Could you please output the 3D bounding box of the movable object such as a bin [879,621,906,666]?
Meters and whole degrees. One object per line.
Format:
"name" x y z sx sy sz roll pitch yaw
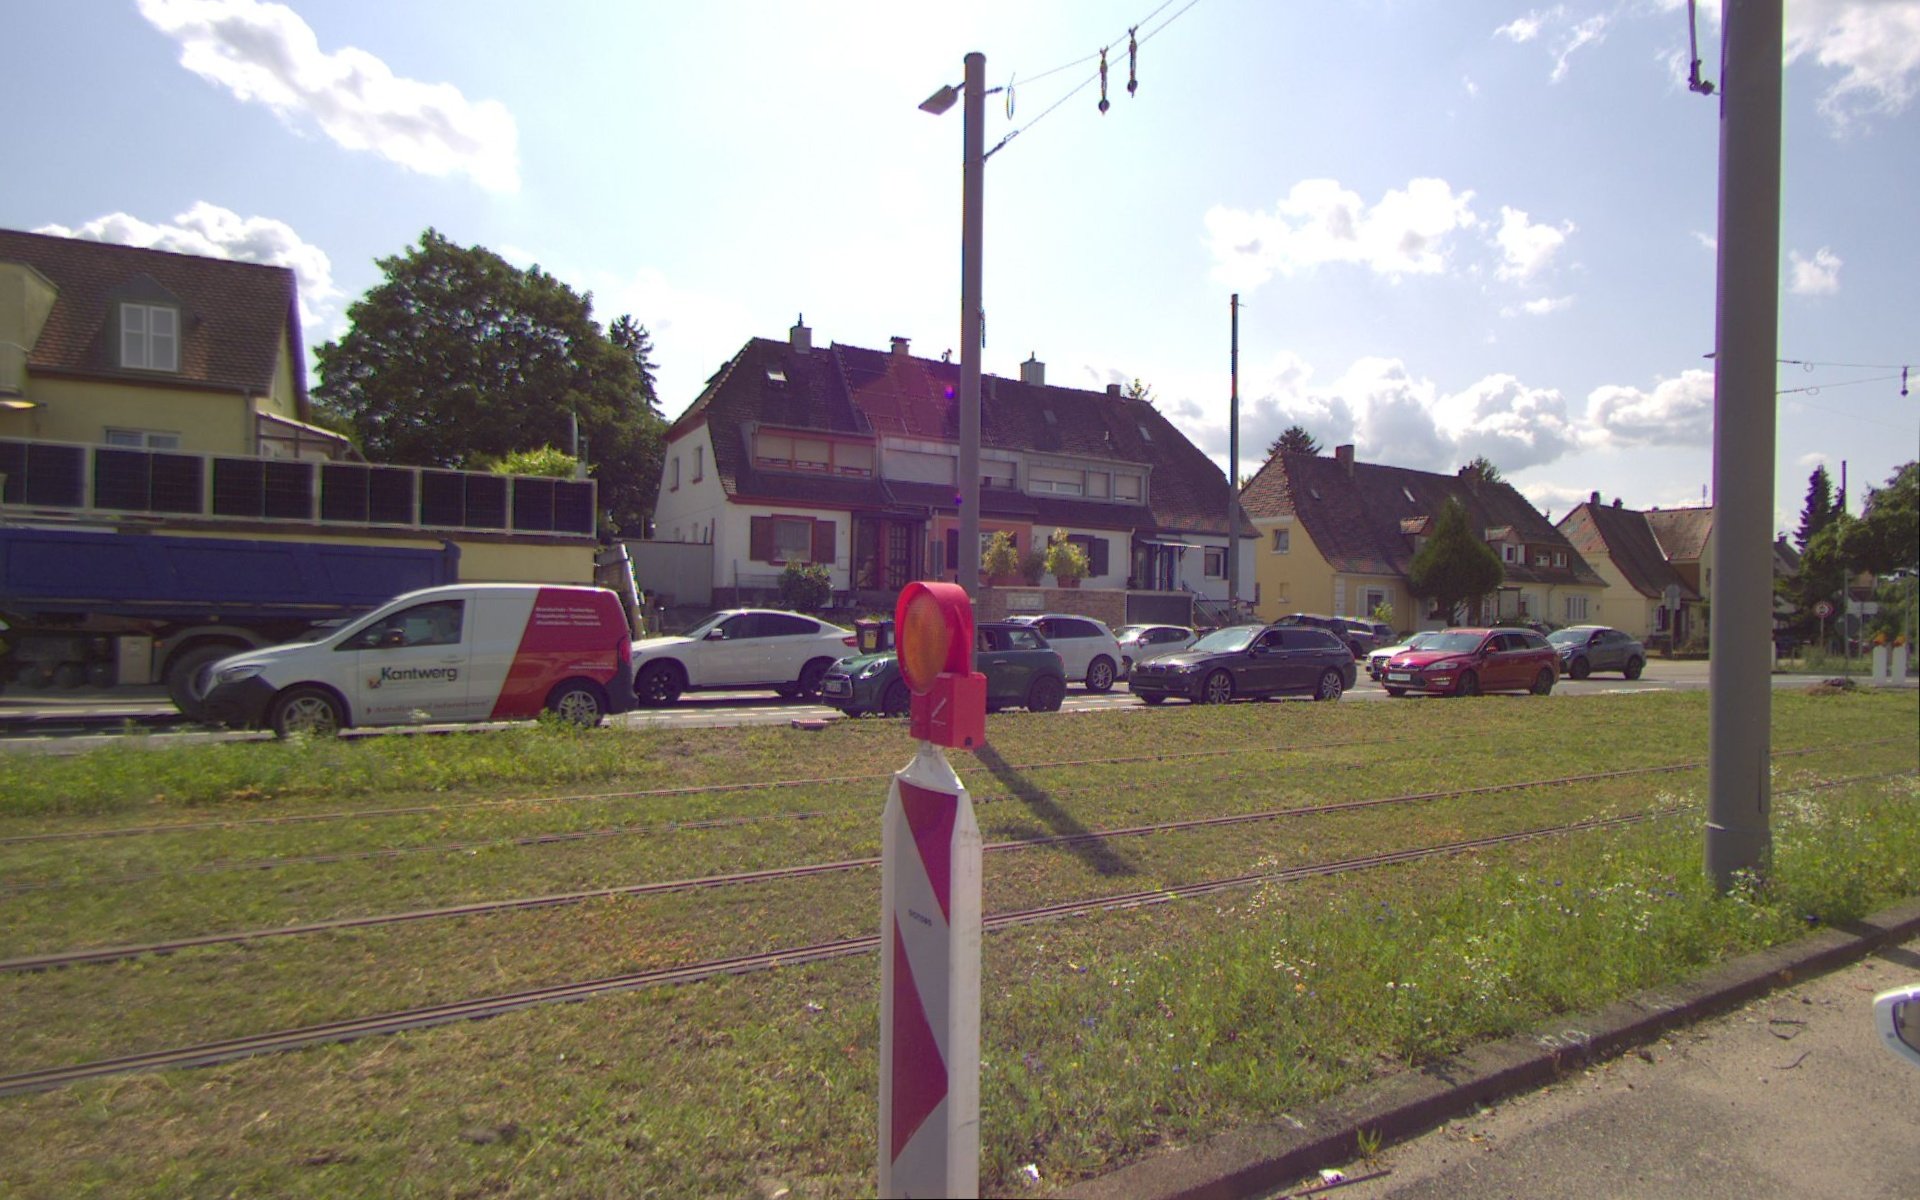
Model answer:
"movable object such as a bin" -1.841 1.174 27.358 0.569 1.212 0.442 1 -1 -36

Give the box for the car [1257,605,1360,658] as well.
"car" 13.125 1.161 37.976 1.587 1.616 3.365 2 4 -32

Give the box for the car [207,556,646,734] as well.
"car" -6.208 0.509 12.067 4.357 1.805 1.723 2 -1 -33

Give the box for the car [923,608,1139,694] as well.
"car" 1.591 1.076 21.825 4.456 1.691 1.833 2 -1 -32

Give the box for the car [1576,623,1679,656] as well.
"car" 33.512 1.952 50.507 1.685 1.417 3.967 1 1 -31

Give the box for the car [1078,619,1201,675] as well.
"car" 4.933 1.263 27.562 3.052 1.438 1.558 2 -1 -31

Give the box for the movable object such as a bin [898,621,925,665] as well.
"movable object such as a bin" -1.333 1.184 27.740 0.569 1.217 0.442 1 -1 -36

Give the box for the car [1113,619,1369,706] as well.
"car" 5.323 1.112 18.768 4.862 1.432 1.833 2 -1 -32

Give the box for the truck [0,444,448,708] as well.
"truck" -11.513 -0.263 14.069 7.500 3.230 2.753 2 -1 -32

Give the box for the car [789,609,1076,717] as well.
"car" -0.380 0.897 15.283 3.956 1.437 1.904 2 -1 -32

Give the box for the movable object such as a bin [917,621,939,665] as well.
"movable object such as a bin" -0.899 1.200 28.062 0.437 1.197 0.442 1 -1 -36

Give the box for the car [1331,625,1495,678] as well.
"car" 12.884 1.431 28.503 4.721 1.361 1.835 2 -1 -30

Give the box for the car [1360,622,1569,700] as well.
"car" 11.157 1.298 22.117 4.801 1.513 1.834 2 -1 -31

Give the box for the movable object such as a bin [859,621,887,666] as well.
"movable object such as a bin" -2.337 1.160 26.994 0.569 1.200 0.442 1 -1 -36

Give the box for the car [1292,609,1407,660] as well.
"car" 15.164 1.304 39.291 1.587 1.512 3.929 2 4 -32

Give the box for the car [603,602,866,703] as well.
"car" -4.131 0.929 18.571 4.385 1.681 1.834 2 -1 -30

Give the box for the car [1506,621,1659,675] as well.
"car" 19.441 1.493 31.333 4.675 1.555 1.837 2 -1 -26

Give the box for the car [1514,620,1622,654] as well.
"car" 29.646 1.778 49.115 1.968 1.486 4.087 2 -1 -30
